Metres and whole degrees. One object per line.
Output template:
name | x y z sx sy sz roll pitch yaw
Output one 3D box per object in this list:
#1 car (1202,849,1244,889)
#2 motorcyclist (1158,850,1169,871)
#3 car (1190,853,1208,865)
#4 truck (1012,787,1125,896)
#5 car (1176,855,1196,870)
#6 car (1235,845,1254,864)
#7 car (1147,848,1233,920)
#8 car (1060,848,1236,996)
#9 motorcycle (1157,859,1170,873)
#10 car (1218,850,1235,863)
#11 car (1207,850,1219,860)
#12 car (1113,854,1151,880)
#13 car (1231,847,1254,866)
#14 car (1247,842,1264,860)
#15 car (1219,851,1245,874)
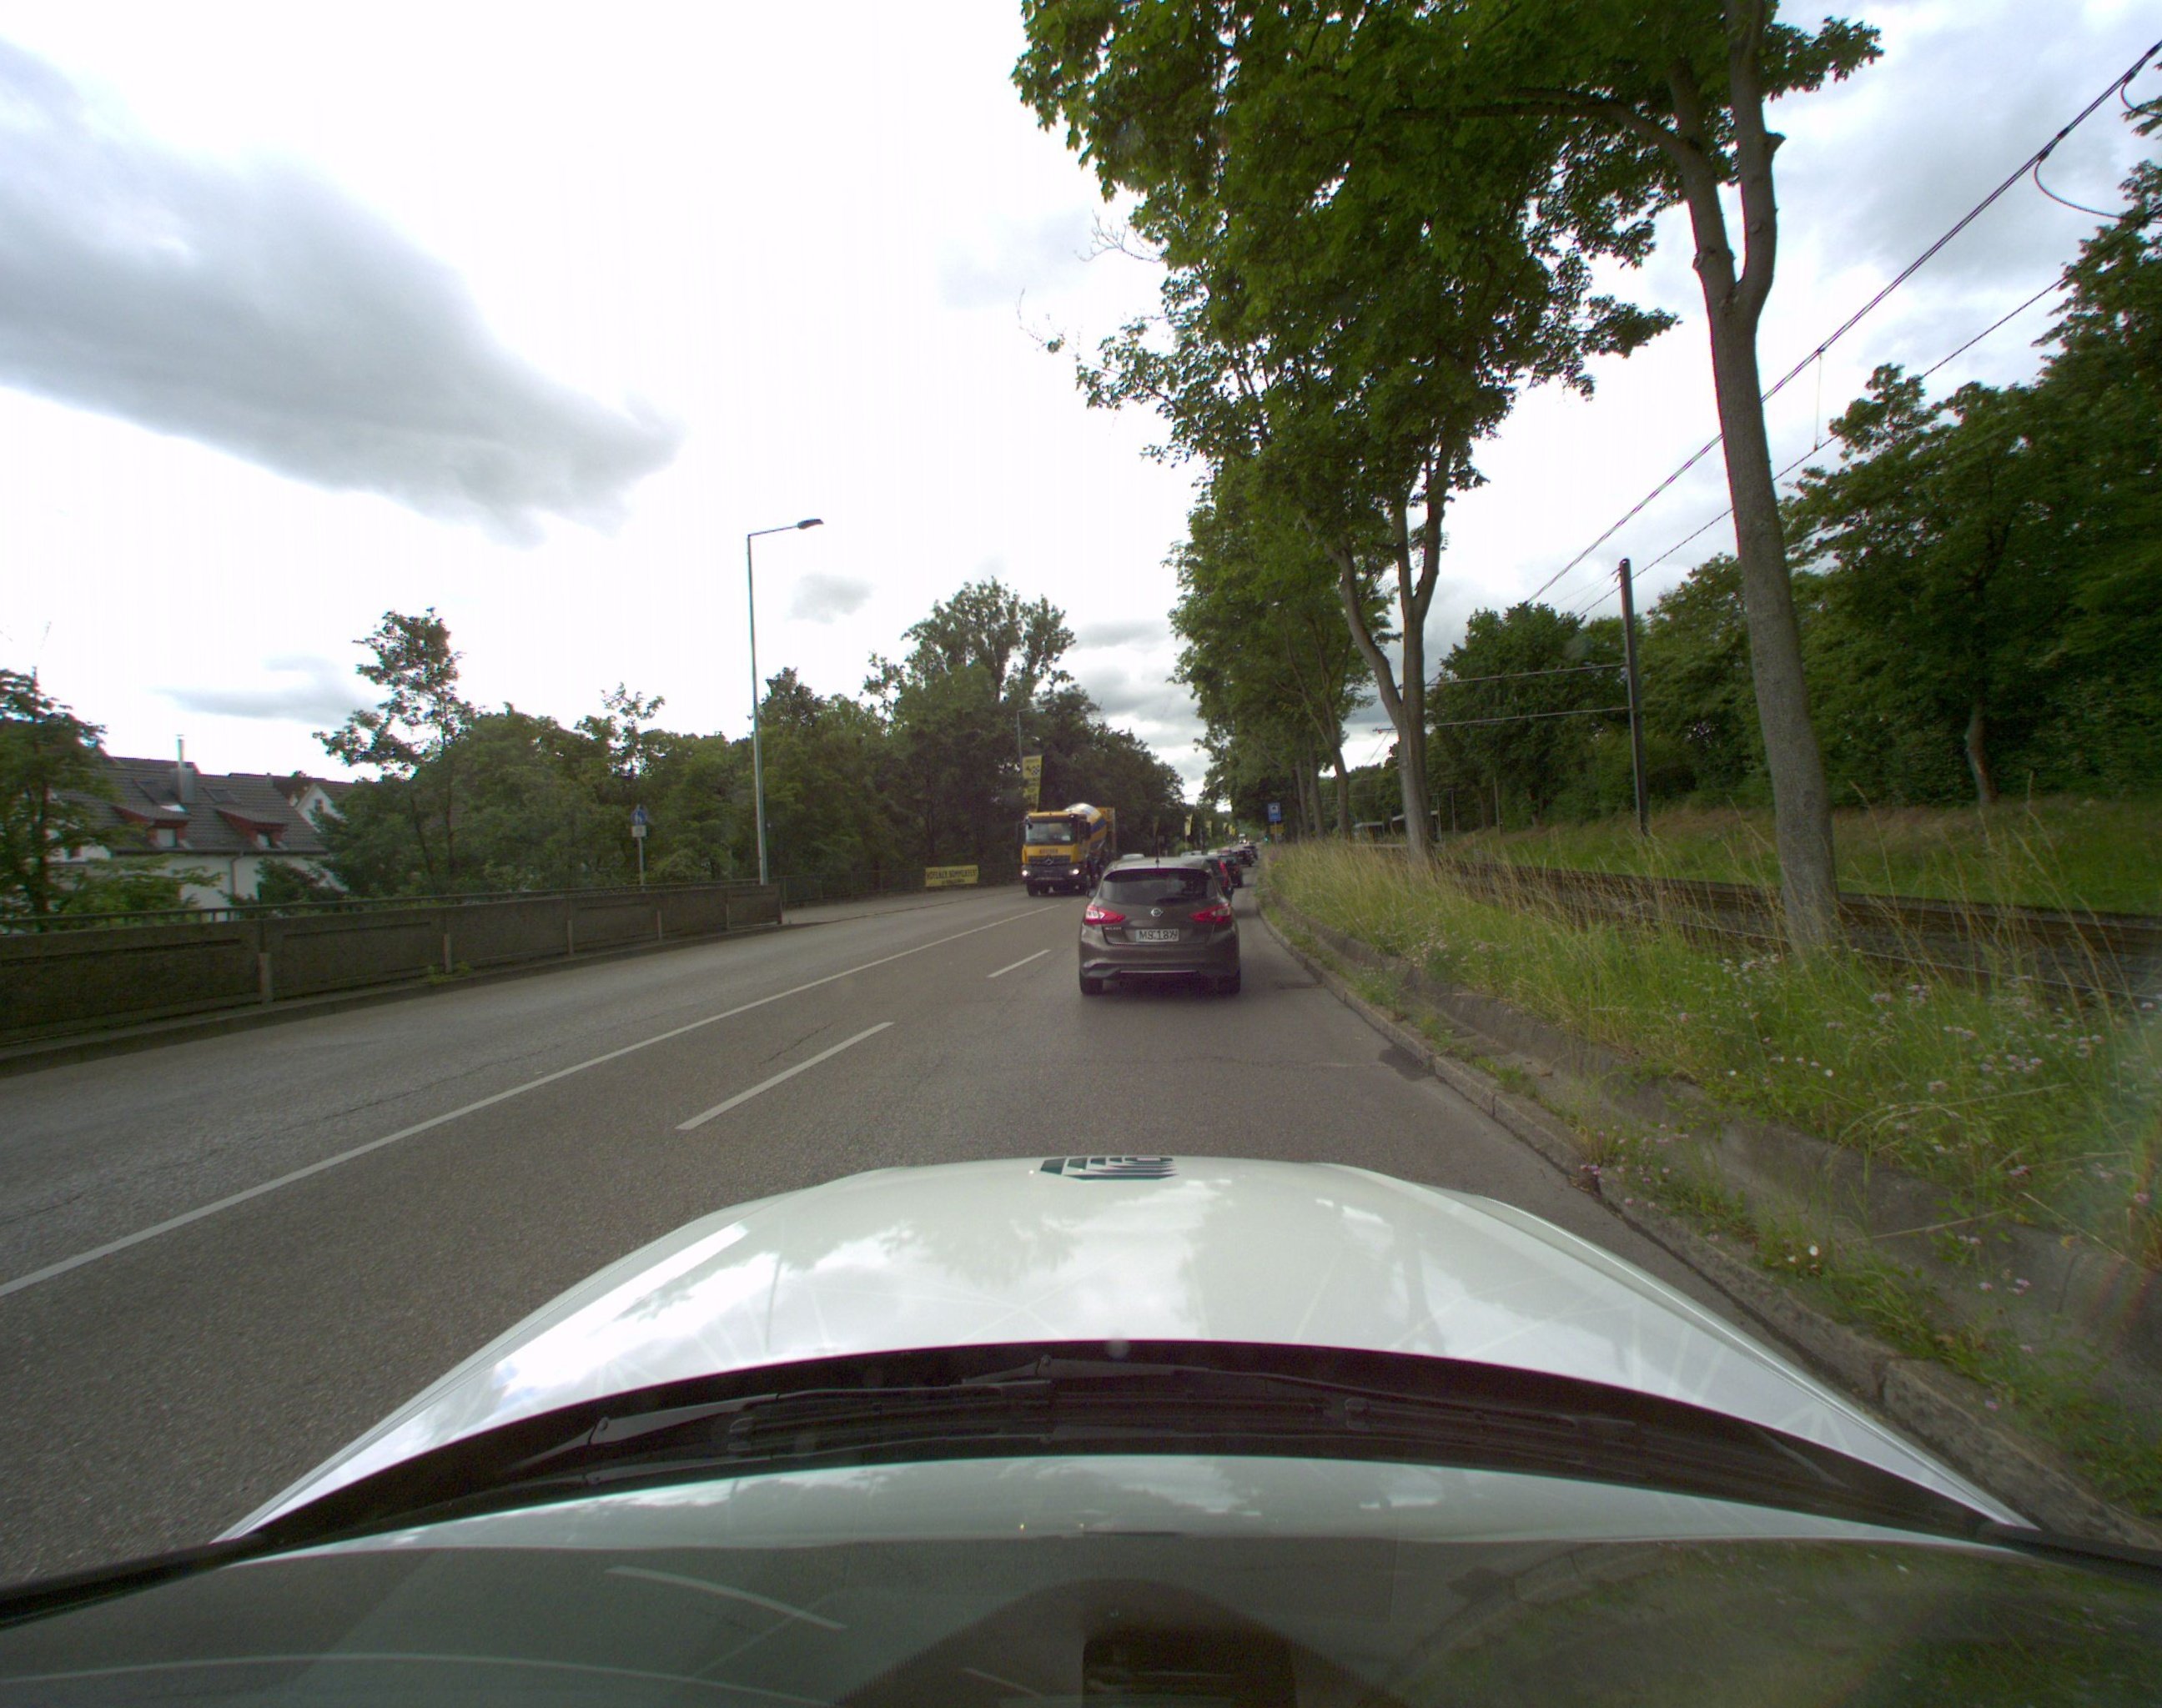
car | 6.026 0.625 34.718 1.569 1.538 4.010 -3 -1 9
motorcyclist | 6.418 0.504 63.443 0.739 1.539 0.793 -2 0 13
car | 14.832 0.625 102.496 1.805 1.462 4.014 -3 0 13
truck | -0.224 -0.462 35.211 2.637 3.938 10.143 -2 0 11
car | 11.523 0.983 89.114 1.709 1.442 4.013 -3 -3 12
car | 16.447 0.115 81.760 1.707 1.693 4.012 -3 -3 12
car | 2.665 0.725 20.414 1.883 1.574 4.006 -2 -1 6
car | 0.922 0.742 10.322 1.765 1.494 4.007 -1 -1 7
motorcycle | 6.454 0.946 63.440 0.739 1.033 1.895 -2 0 14
car | 19.252 0.336 107.870 1.838 1.486 4.437 -3 -1 14
car | 20.871 0.143 128.774 1.741 1.420 4.012 -3 -3 11
car | 3.183 0.767 50.440 1.755 1.479 4.013 -2 0 12
car | 13.685 0.259 68.682 1.792 1.540 4.013 -1 -1 12
car | 21.334 -0.388 99.412 1.878 2.013 4.014 -3 0 13
car | 9.813 0.535 52.823 1.490 1.364 3.599 -4 -1 12
